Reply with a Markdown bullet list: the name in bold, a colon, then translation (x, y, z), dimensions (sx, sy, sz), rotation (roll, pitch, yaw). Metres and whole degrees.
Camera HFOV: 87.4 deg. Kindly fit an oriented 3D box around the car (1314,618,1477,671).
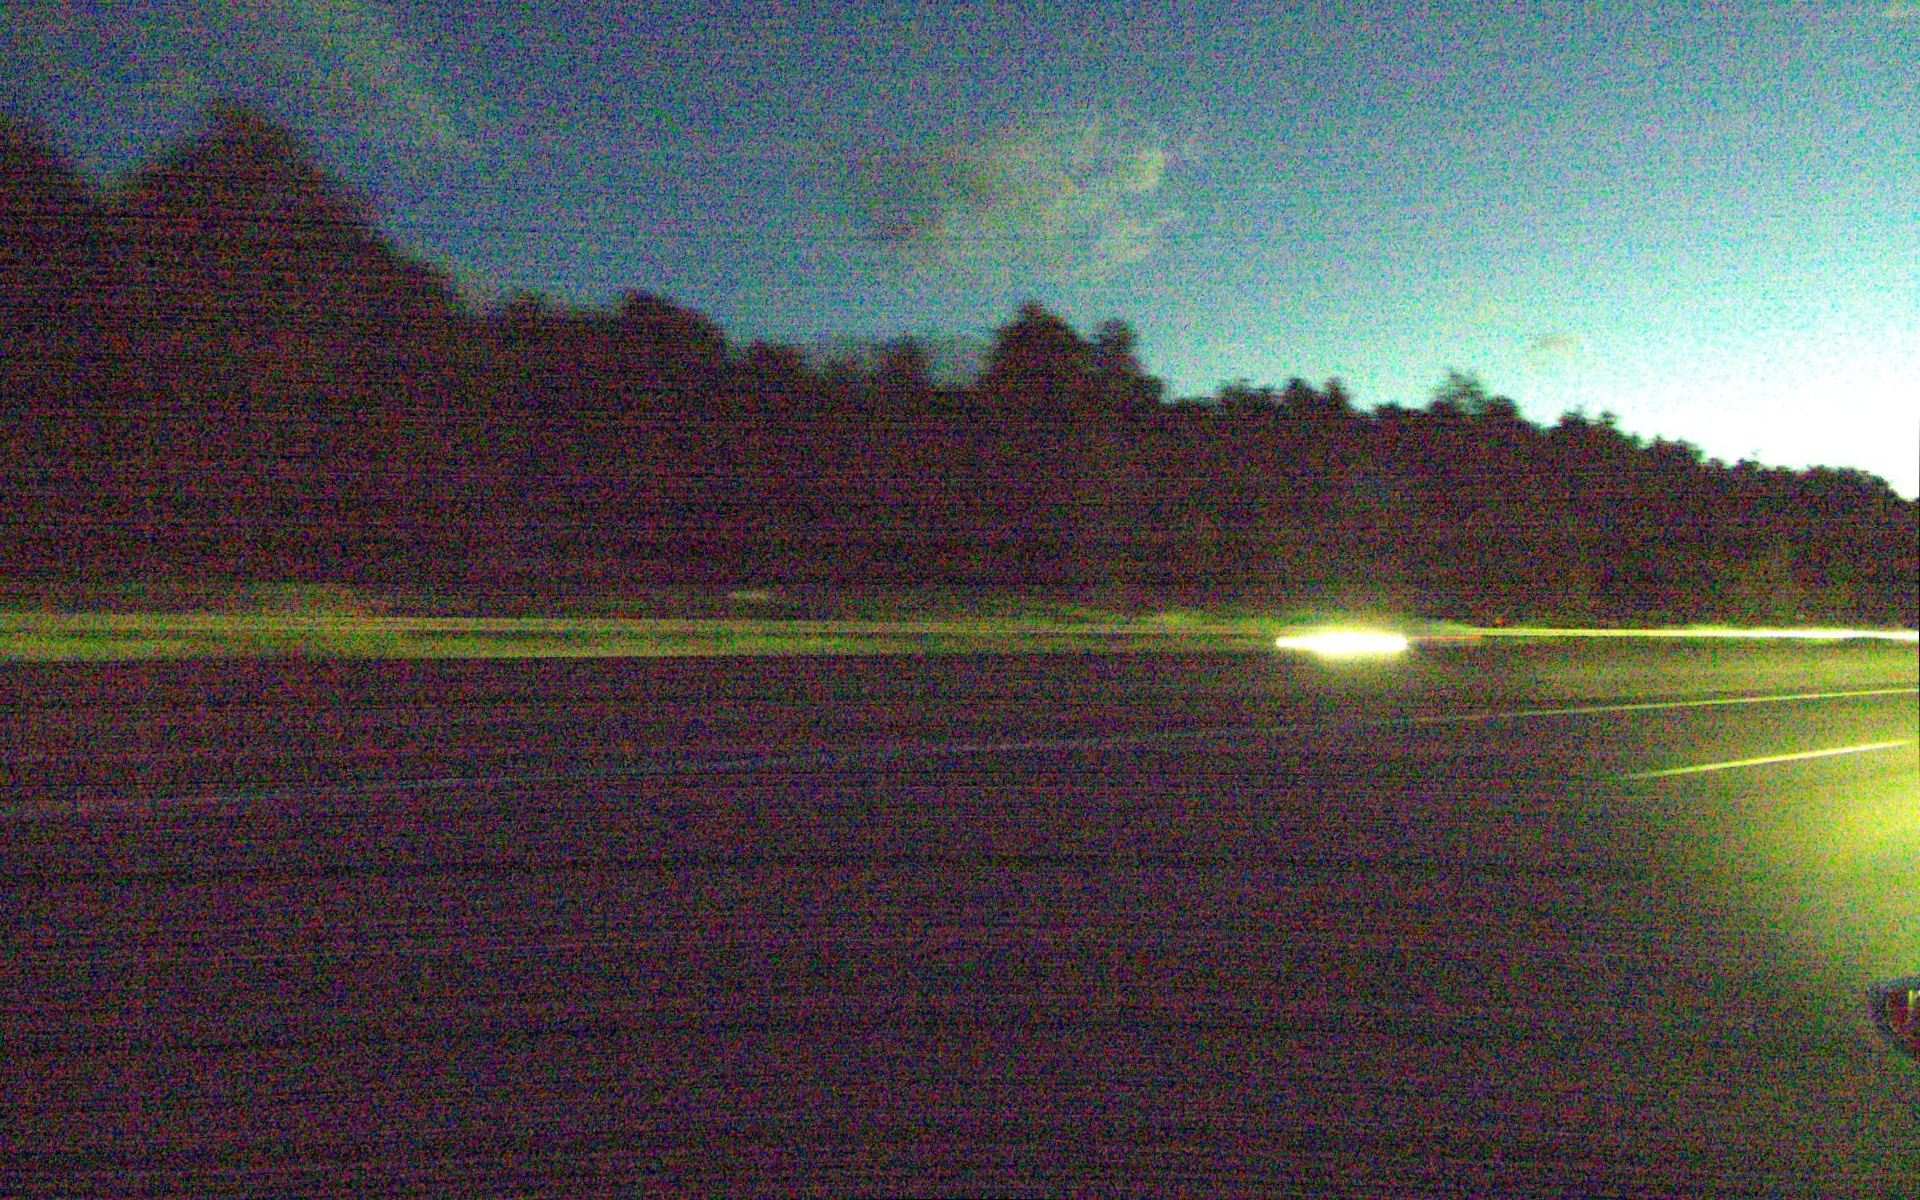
- **car**: translation (12.312, 1.260, 28.364), dimensions (4.345, 1.350, 1.985), rotation (2, -1, -28)
